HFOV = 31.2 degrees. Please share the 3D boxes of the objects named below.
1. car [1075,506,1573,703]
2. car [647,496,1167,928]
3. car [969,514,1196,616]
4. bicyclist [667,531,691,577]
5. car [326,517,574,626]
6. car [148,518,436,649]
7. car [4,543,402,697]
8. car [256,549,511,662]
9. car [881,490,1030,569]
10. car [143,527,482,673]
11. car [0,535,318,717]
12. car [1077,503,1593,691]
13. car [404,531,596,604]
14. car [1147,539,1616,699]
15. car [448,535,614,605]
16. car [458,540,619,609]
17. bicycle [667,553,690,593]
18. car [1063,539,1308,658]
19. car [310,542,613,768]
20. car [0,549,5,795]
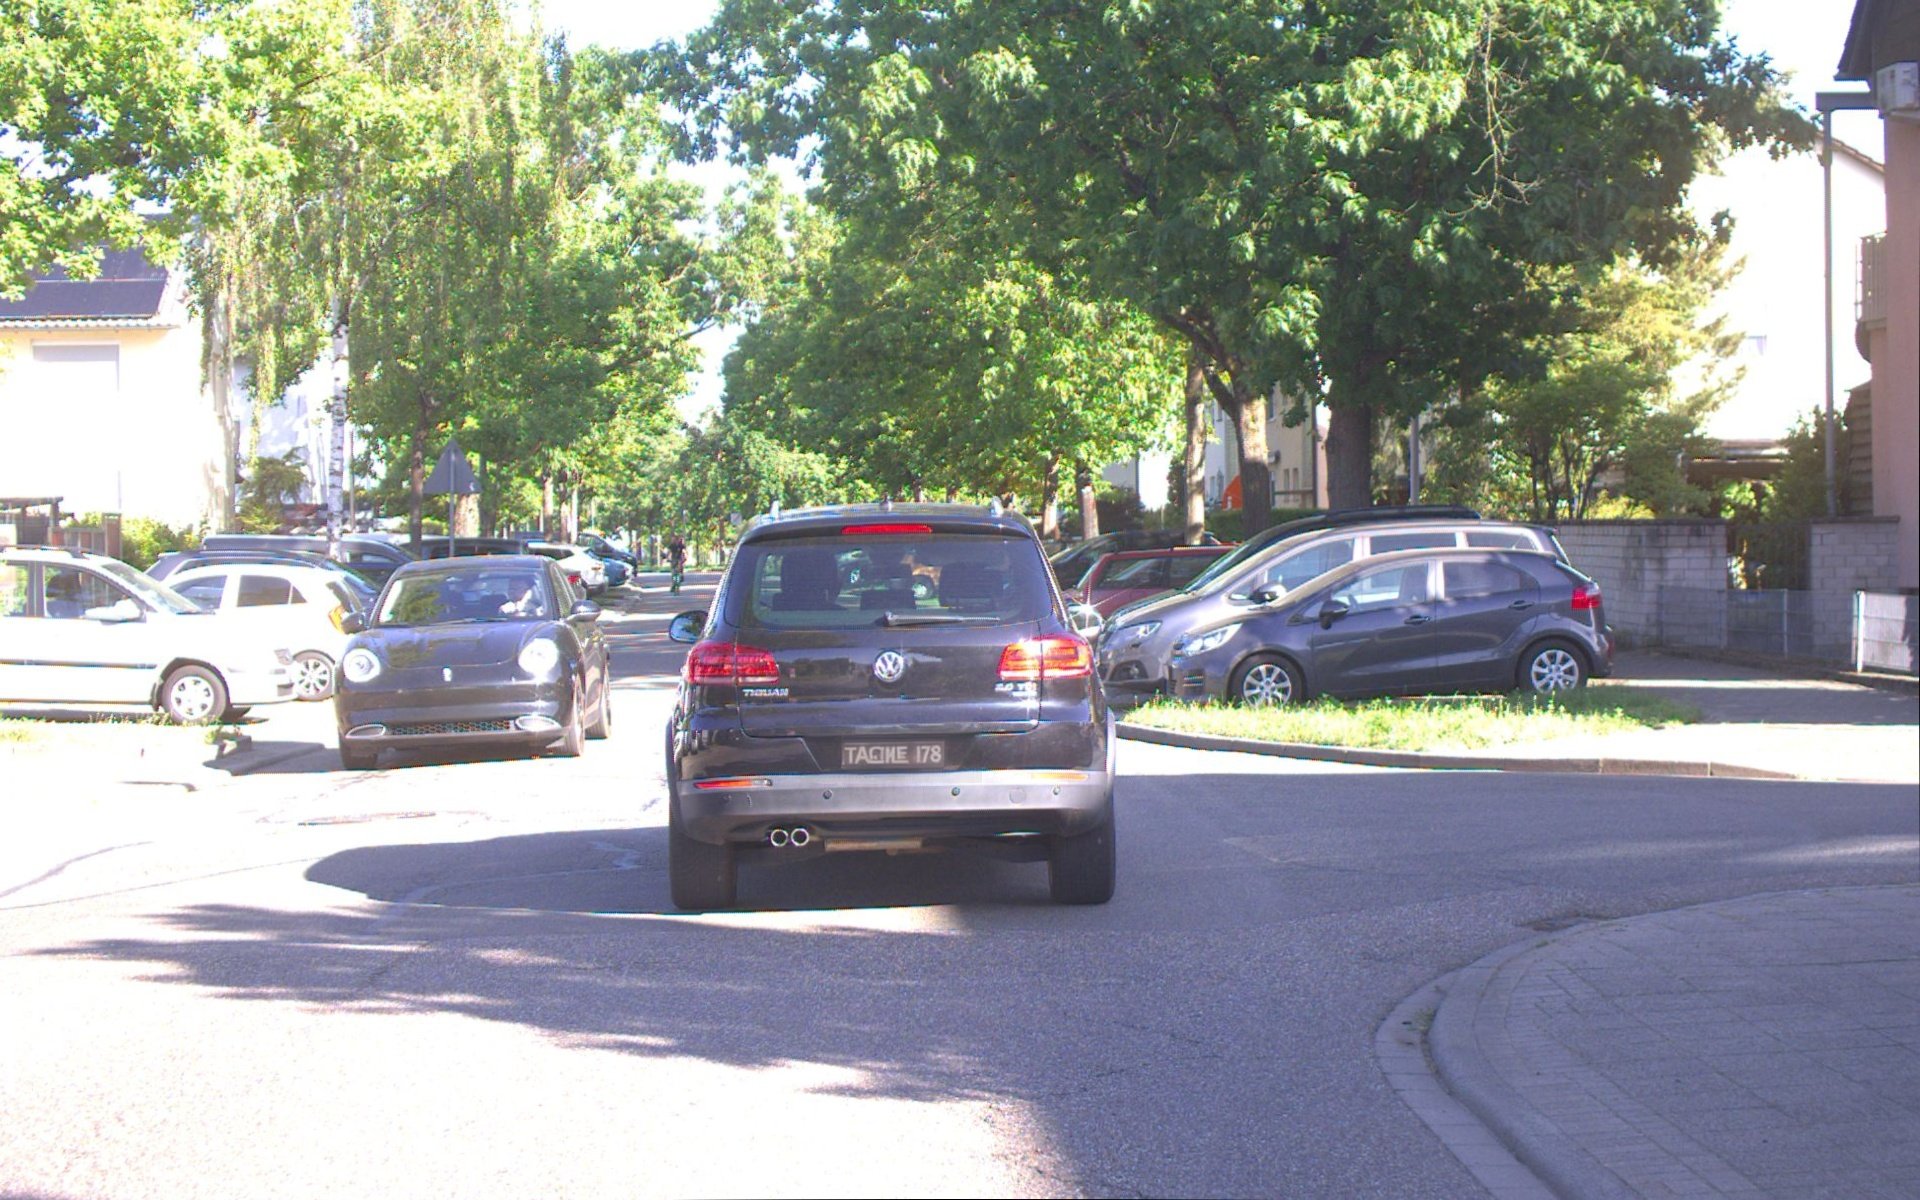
[{"bbox_3d":[3.521,0.026,33.800,4.632,1.803,1.824,-1,1,-2],"label":"car"},{"bbox_3d":[-0.404,0.391,15.521,1.929,1.649,4.515,1,1,-6],"label":"car"},{"bbox_3d":[2.193,-0.640,62.229,3.987,1.769,1.790,-1,1,-1],"label":"car"},{"bbox_3d":[-8.411,-1.384,102.880,0.700,1.341,0.506,-1,-1,-6],"label":"bicyclist"},{"bbox_3d":[-9.254,-0.512,62.595,4.389,1.932,1.579,0,0,-6],"label":"car"},{"bbox_3d":[-9.765,-0.260,50.468,3.986,1.830,1.638,-1,1,-6],"label":"car"},{"bbox_3d":[-8.368,0.204,38.289,3.987,1.634,2.000,0,1,0],"label":"car"},{"bbox_3d":[-7.957,0.065,47.656,3.370,1.485,1.644,-1,1,-6],"label":"car"},{"bbox_3d":[-0.155,-1.913,93.604,3.987,2.007,2.000,-1,-1,-1],"label":"car"},{"bbox_3d":[-8.047,-0.022,43.057,3.986,1.725,2.000,-1,1,-5],"label":"car"},{"bbox_3d":[-8.329,0.229,32.947,3.987,1.664,2.000,-1,1,-1],"label":"car"},{"bbox_3d":[3.953,-0.050,36.852,5.259,1.939,2.000,0,1,-2],"label":"car"},{"bbox_3d":[-10.134,-0.714,75.909,3.987,1.493,2.000,-1,-1,-1],"label":"car"},{"bbox_3d":[3.780,0.151,31.310,3.986,1.364,1.847,-1,1,-2],"label":"car"},{"bbox_3d":[-10.694,-0.760,85.551,3.986,1.678,1.924,-1,1,-9],"label":"car"},{"bbox_3d":[-10.801,-0.653,87.951,3.986,1.678,2.001,-1,1,-9],"label":"car"},{"bbox_3d":[-8.442,-0.796,102.913,0.637,1.159,1.741,-1,-1,-6],"label":"bicycle"},{"bbox_3d":[2.983,-0.031,45.644,3.043,1.502,1.247,-1,1,-8],"label":"car"},{"bbox_3d":[-3.787,0.361,26.730,1.909,1.550,4.001,-2,1,-3],"label":"car"},{"bbox_3d":[-7.735,0.486,20.703,3.548,1.552,1.853,-1,1,-6],"label":"car"}]
